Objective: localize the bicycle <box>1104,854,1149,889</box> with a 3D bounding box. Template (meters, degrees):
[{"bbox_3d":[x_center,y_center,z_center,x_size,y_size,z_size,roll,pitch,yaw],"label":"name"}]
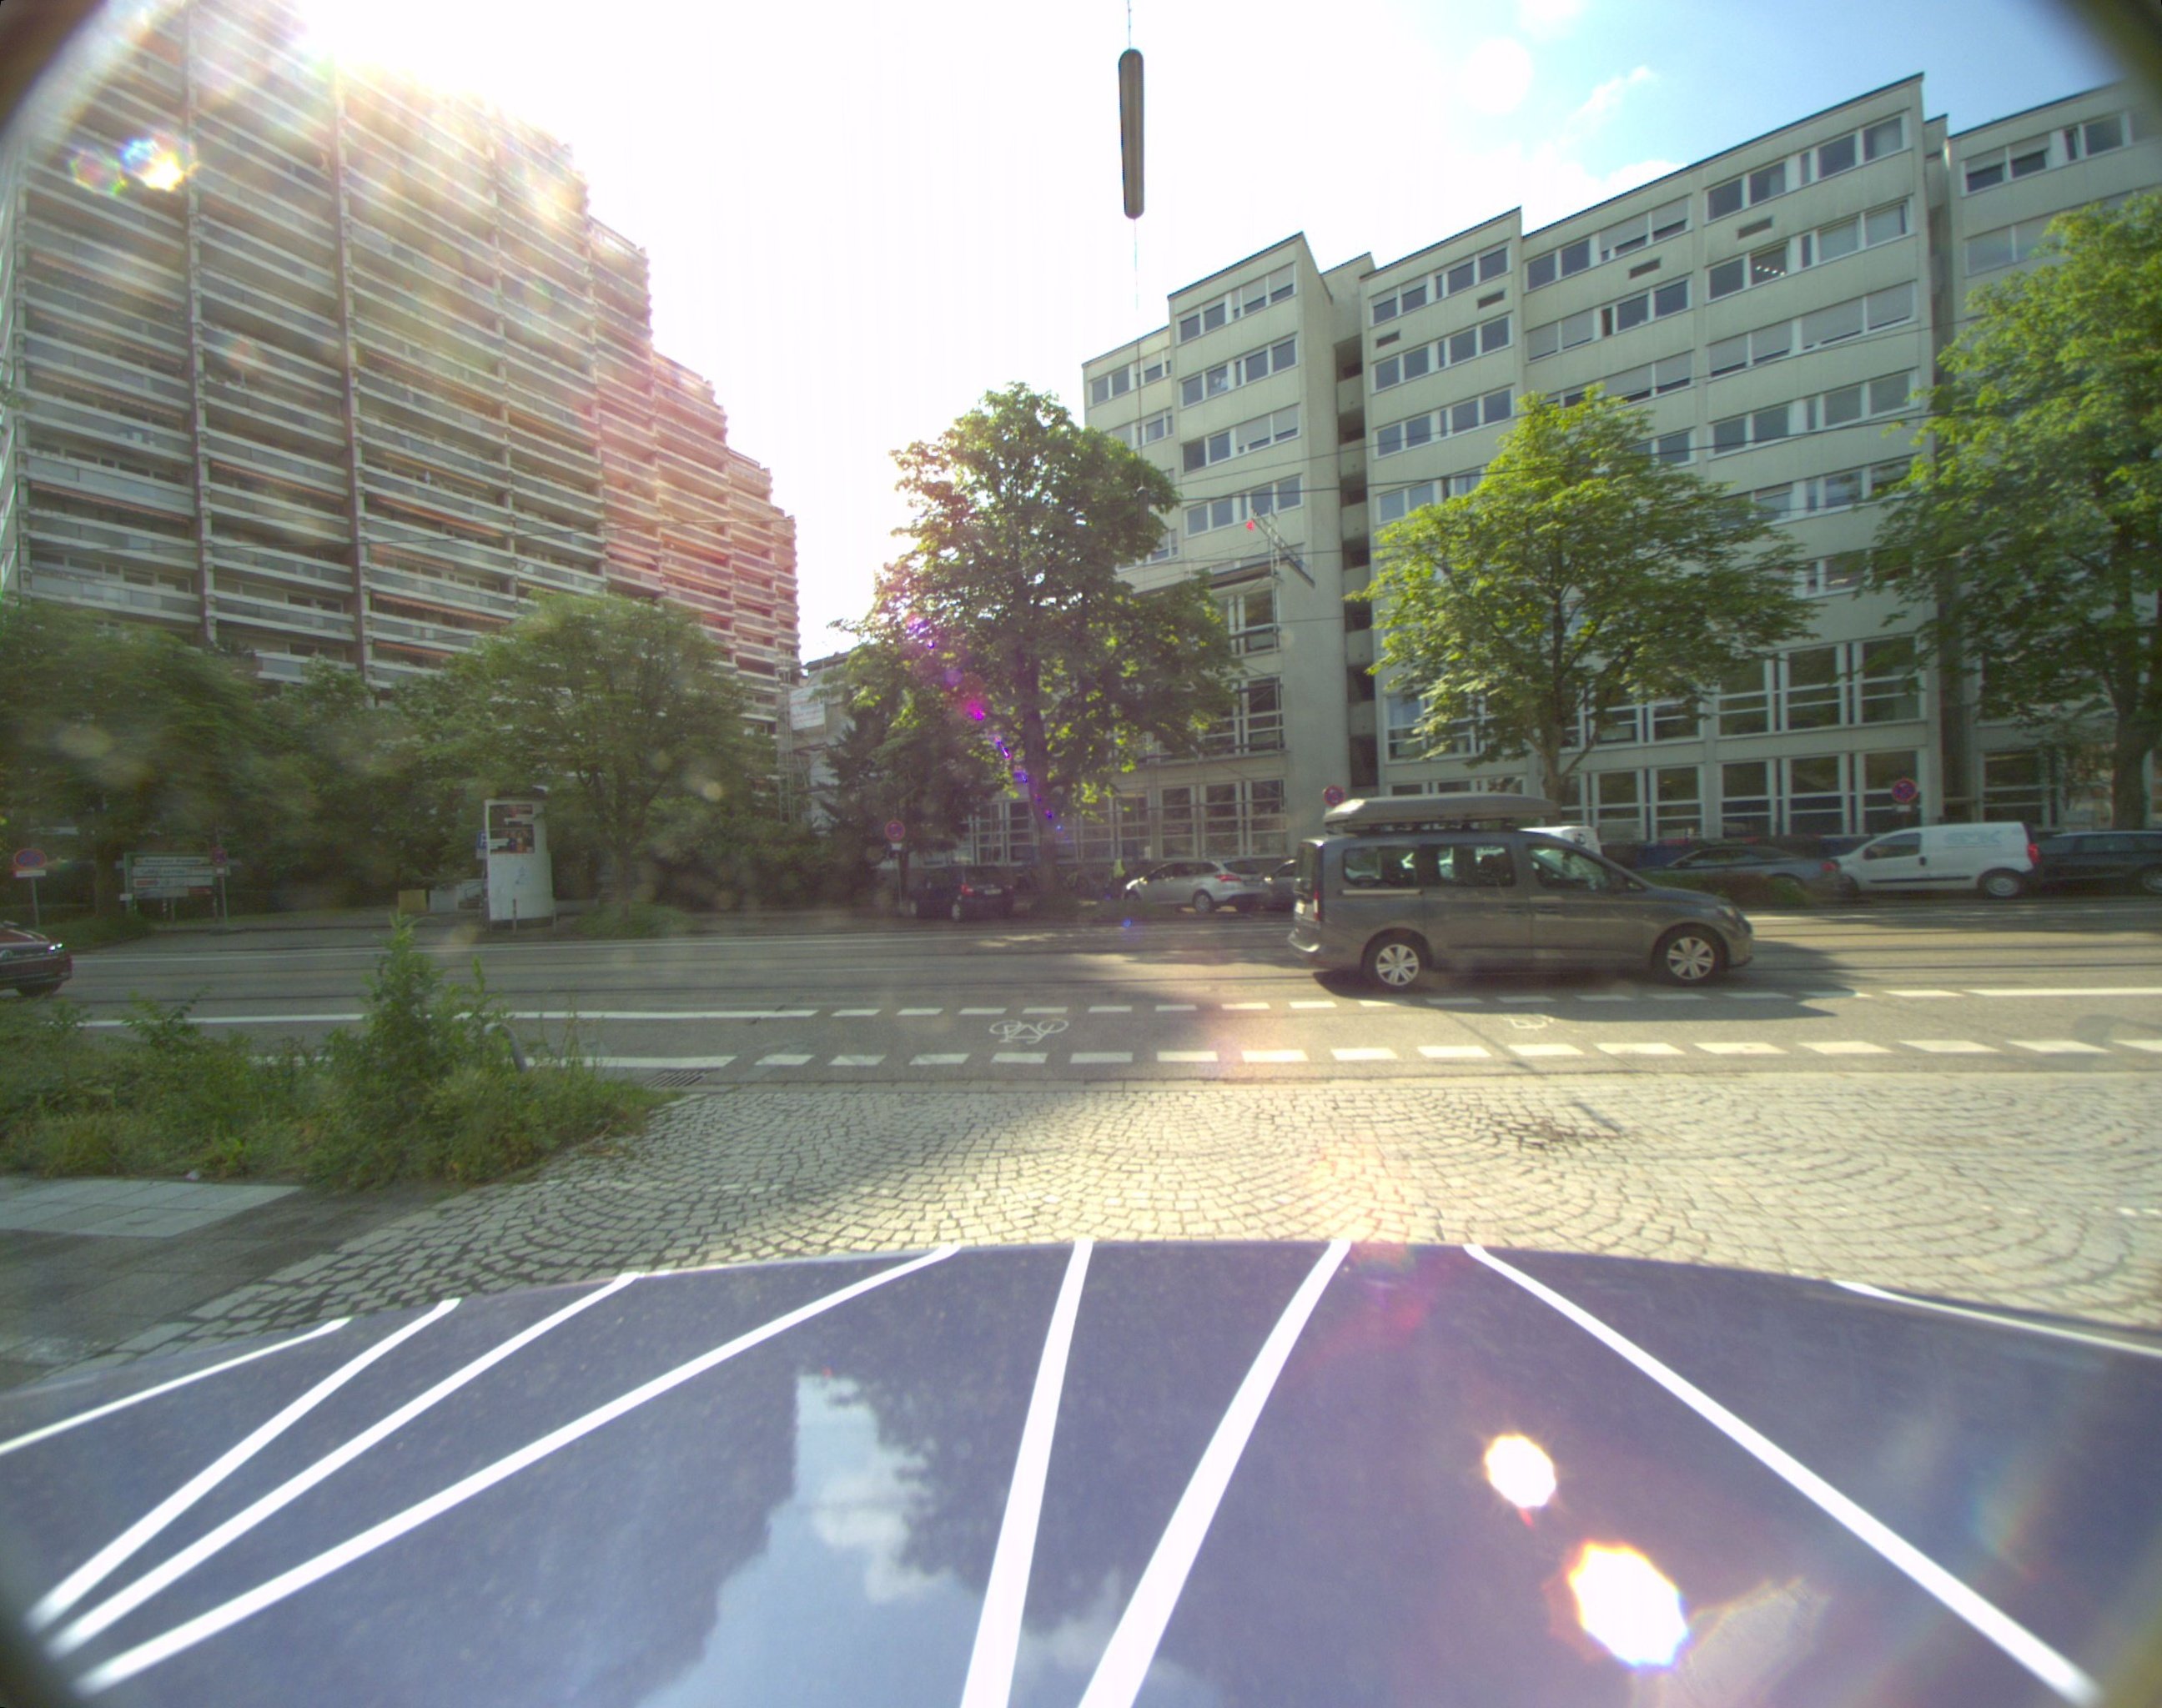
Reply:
[{"bbox_3d":[1.658,0.625,27.353,0.496,1.081,2.059,-2,2,36],"label":"bicycle"}]

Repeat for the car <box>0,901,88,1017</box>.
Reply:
[{"bbox_3d":[-17.966,1.557,11.512,3.966,1.602,1.680,2,1,5],"label":"car"}]

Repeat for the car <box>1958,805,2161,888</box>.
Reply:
[{"bbox_3d":[23.052,-0.181,17.443,1.886,1.702,3.749,-5,2,-39],"label":"car"}]

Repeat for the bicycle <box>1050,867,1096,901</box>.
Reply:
[{"bbox_3d":[-0.271,1.083,27.833,0.496,1.081,2.059,-2,2,36],"label":"bicycle"}]

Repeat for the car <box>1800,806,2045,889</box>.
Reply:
[{"bbox_3d":[19.781,-0.146,18.003,1.886,1.702,3.749,-5,2,-39],"label":"car"}]

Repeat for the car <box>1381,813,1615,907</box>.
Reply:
[{"bbox_3d":[10.050,0.055,18.674,1.935,1.902,4.629,-6,5,-34],"label":"car"}]

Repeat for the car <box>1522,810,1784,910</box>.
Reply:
[{"bbox_3d":[13.237,0.046,17.897,1.906,1.987,4.560,-5,4,-34],"label":"car"}]

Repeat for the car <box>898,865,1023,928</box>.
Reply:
[{"bbox_3d":[-3.443,1.088,21.195,1.762,1.454,3.990,-5,2,-36],"label":"car"}]

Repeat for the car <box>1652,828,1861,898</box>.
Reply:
[{"bbox_3d":[16.493,0.204,18.661,1.765,1.492,3.627,-4,2,-41],"label":"car"}]

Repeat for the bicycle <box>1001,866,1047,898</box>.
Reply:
[{"bbox_3d":[-2.198,1.072,29.475,0.496,1.081,2.059,-2,2,36],"label":"bicycle"}]

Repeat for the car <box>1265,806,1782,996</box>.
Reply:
[{"bbox_3d":[4.778,0.487,8.896,4.831,1.764,1.947,-3,2,6],"label":"car"}]

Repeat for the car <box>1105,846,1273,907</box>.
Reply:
[{"bbox_3d":[2.831,0.584,20.771,1.743,1.418,4.449,-4,2,-40],"label":"car"}]

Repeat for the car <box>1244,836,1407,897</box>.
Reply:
[{"bbox_3d":[6.350,0.343,20.069,1.729,1.466,3.774,-1,-1,-36],"label":"car"}]

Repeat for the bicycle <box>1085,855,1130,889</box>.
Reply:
[{"bbox_3d":[0.989,0.648,27.867,0.496,1.081,2.059,-2,2,36],"label":"bicycle"}]
